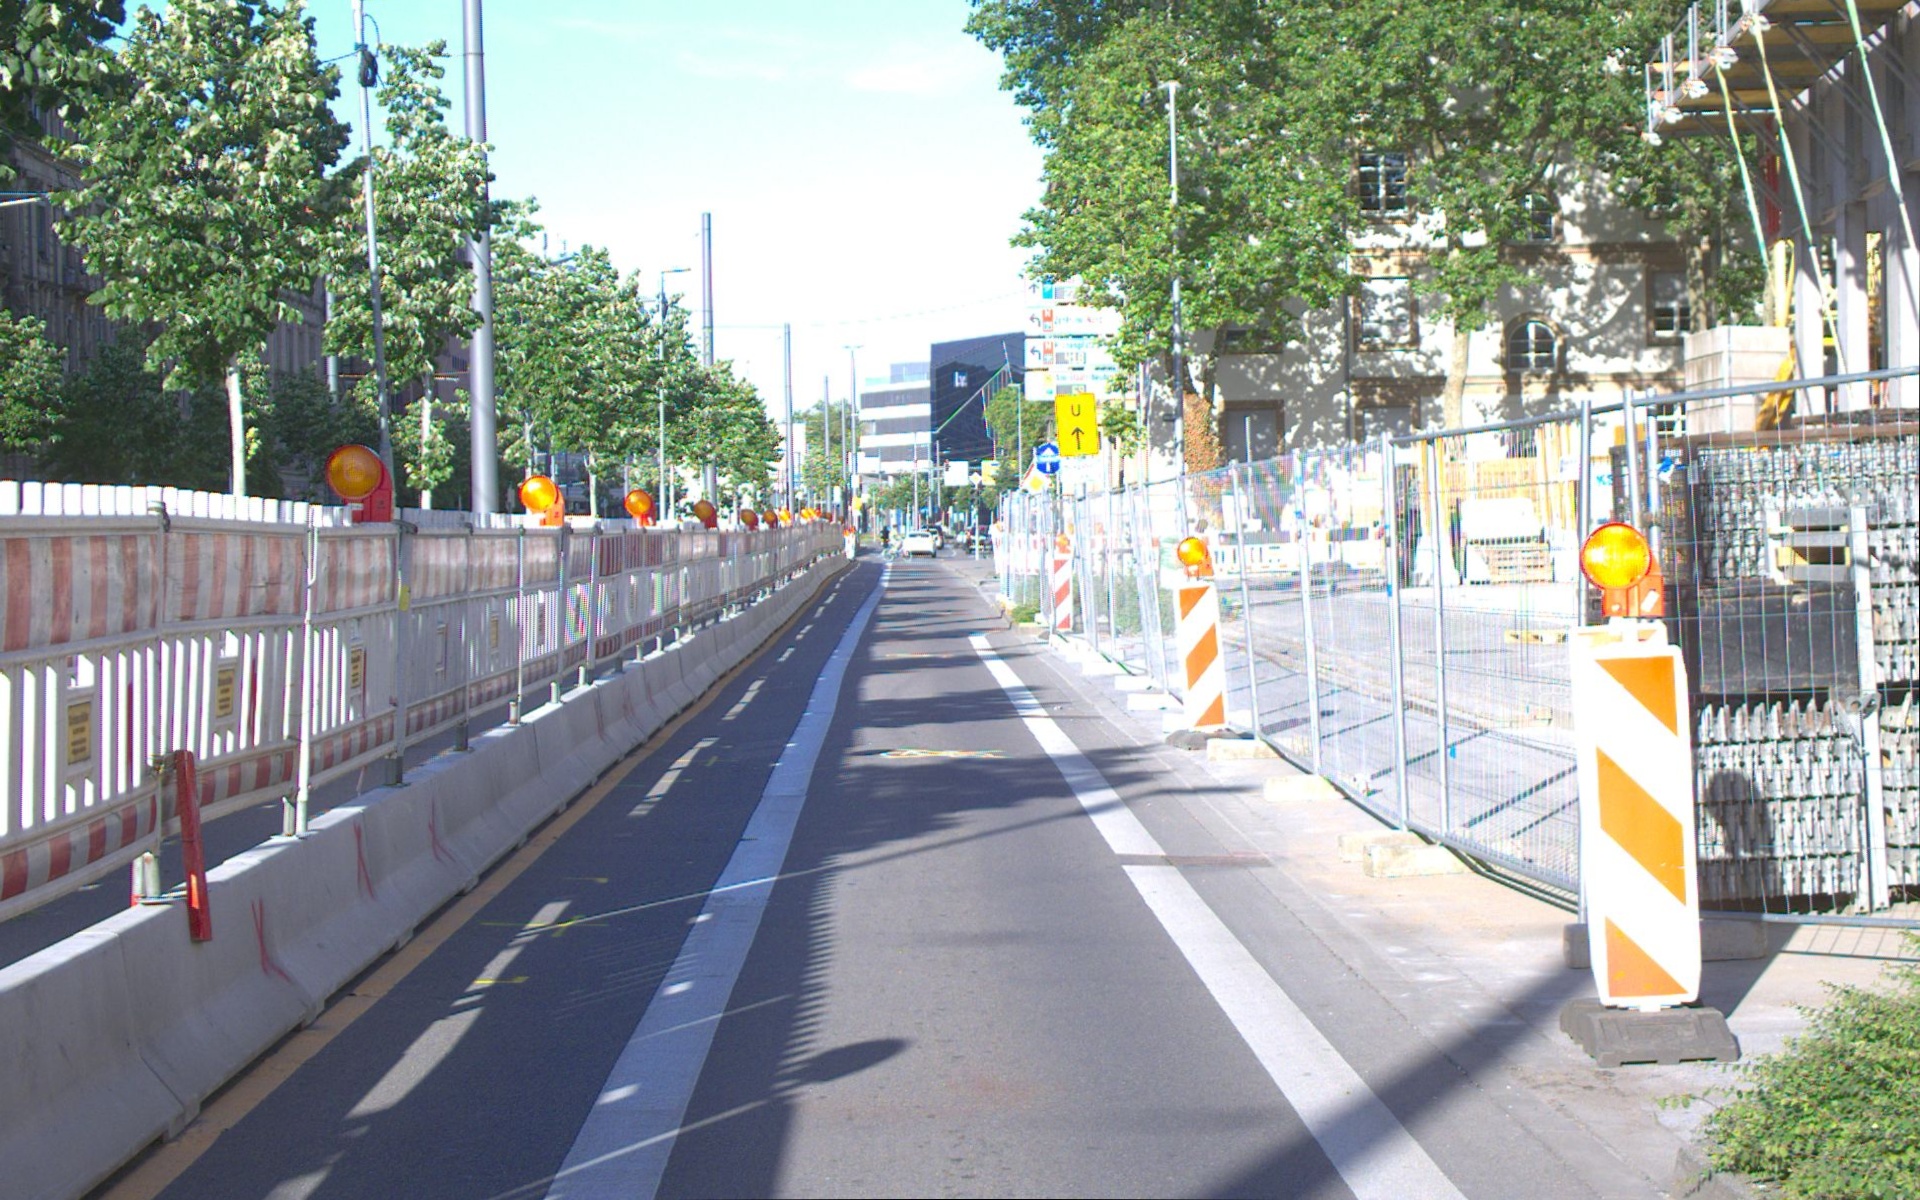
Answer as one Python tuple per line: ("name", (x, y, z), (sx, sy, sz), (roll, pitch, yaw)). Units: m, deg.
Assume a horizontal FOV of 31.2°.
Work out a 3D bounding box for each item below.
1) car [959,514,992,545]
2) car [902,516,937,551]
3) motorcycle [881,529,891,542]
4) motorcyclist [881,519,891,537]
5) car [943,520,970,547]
("car", (0.951, -4.373, 211.462), (1.883, 1.836, 3.668), (-1, 2, -1))
("car", (-2.262, -3.687, 190.042), (1.883, 1.836, 3.668), (-1, 2, -1))
("motorcycle", (-5.179, -4.518, 240.793), (0.631, 0.893, 1.621), (-1, 2, -1))
("motorcyclist", (-5.194, -5.023, 240.730), (0.631, 1.258, 0.606), (-1, 2, -1))
("car", (-0.272, -4.818, 248.033), (1.883, 1.836, 3.668), (-1, 2, -1))
